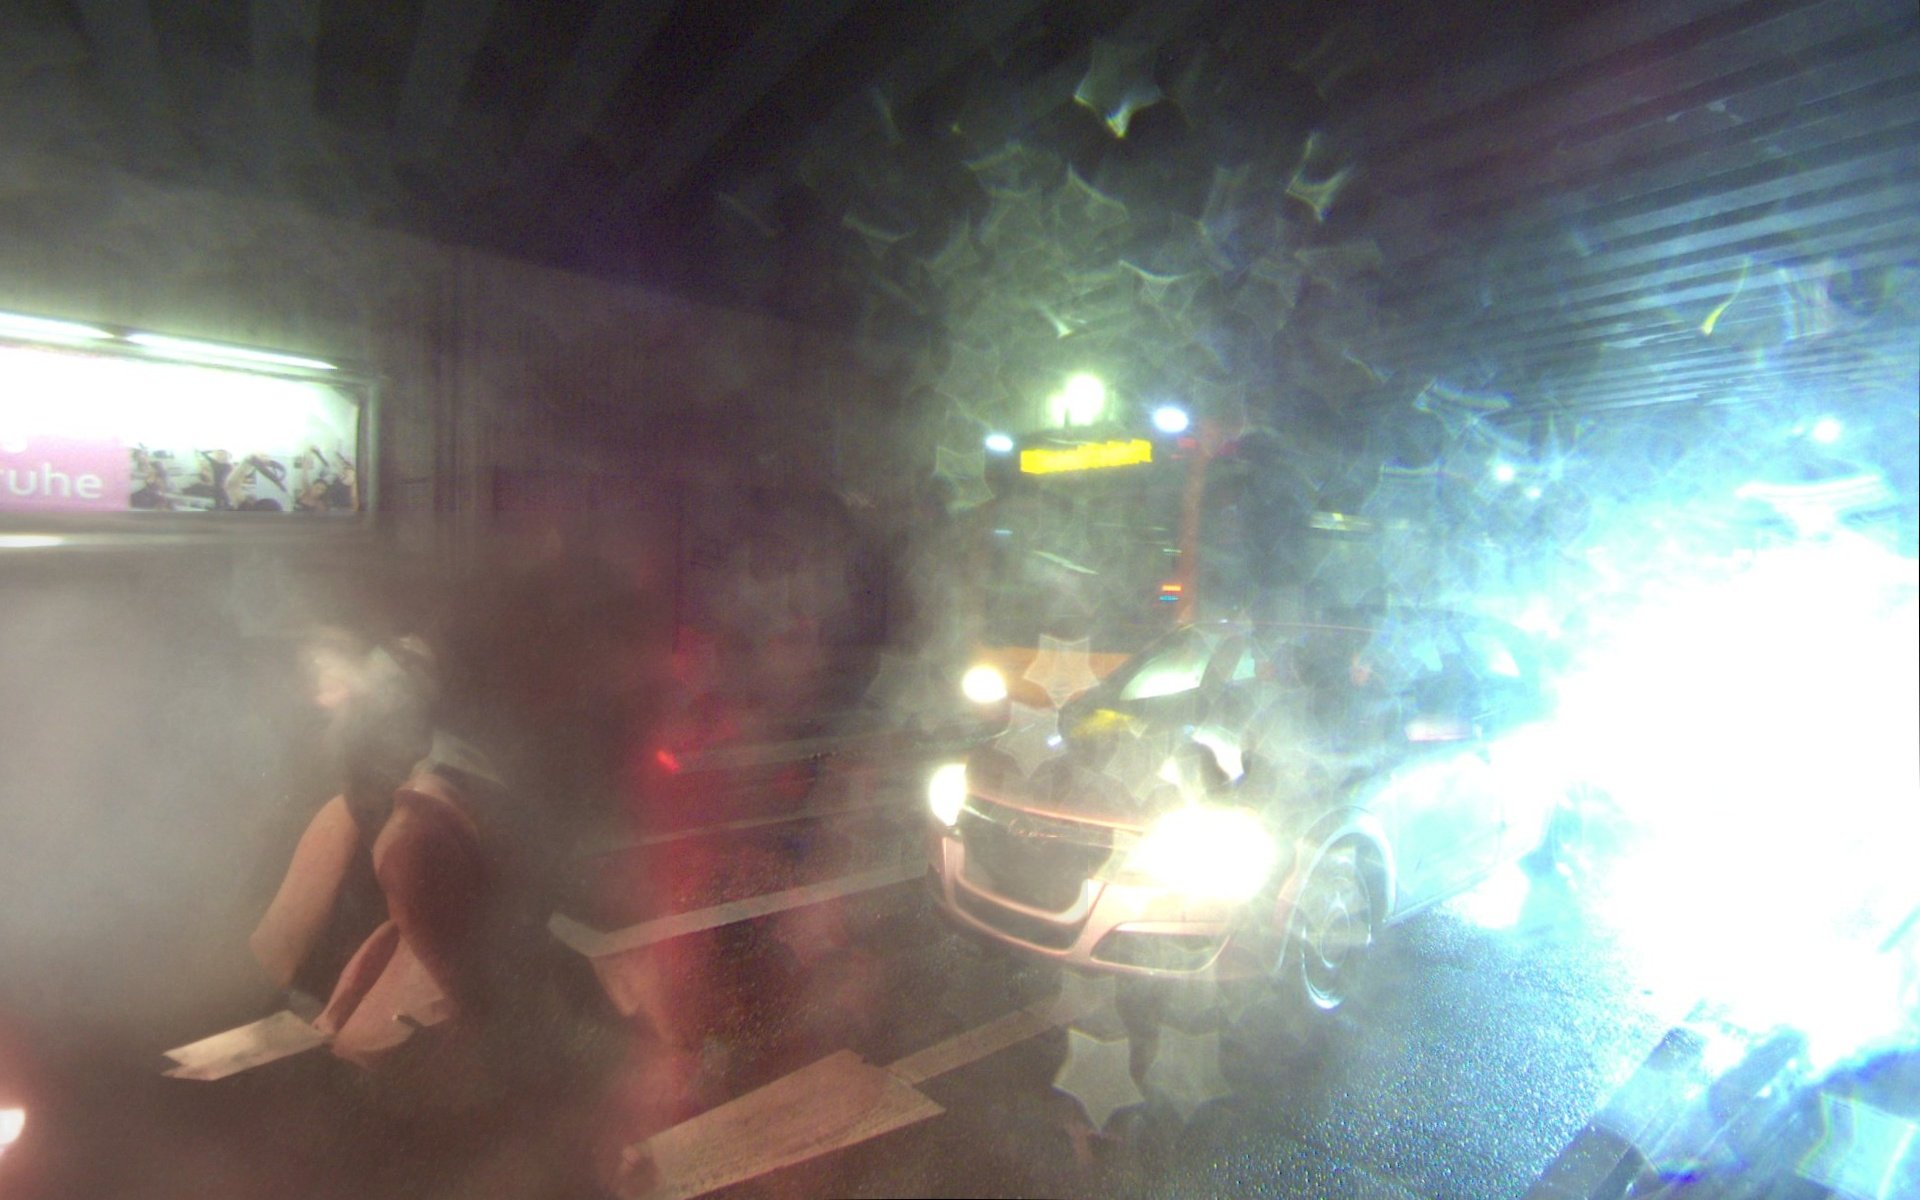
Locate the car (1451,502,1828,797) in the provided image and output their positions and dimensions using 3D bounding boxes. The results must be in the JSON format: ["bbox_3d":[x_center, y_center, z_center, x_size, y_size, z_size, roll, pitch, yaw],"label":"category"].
[{"bbox_3d":[6.481,0.329,9.453,4.274,2.115,1.996,-1,0,-43],"label":"car"}]

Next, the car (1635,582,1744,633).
[{"bbox_3d":[22.961,0.193,31.798,4.549,1.497,1.840,-1,0,-41],"label":"car"}]

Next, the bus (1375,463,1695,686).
[{"bbox_3d":[11.013,-0.360,18.709,2.770,3.163,9.604,0,0,45],"label":"bus"}]

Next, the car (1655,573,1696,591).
[{"bbox_3d":[67.918,-1.687,96.162,1.972,1.626,3.979,0,0,16],"label":"car"}]

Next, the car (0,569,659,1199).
[{"bbox_3d":[-2.678,0.686,0.974,4.273,1.422,1.719,-1,0,-41],"label":"car"}]

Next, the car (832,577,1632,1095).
[{"bbox_3d":[1.536,0.622,4.798,3.931,1.384,1.791,-2,2,-41],"label":"car"}]

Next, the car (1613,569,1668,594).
[{"bbox_3d":[42.162,-1.190,62.830,1.831,1.449,4.473,0,2,20],"label":"car"}]

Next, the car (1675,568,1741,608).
[{"bbox_3d":[30.558,-0.465,41.307,1.846,1.503,4.561,2,1,40],"label":"car"}]

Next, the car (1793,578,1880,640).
[{"bbox_3d":[24.564,0.214,28.324,1.737,1.610,3.939,0,0,42],"label":"car"}]

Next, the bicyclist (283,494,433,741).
[{"bbox_3d":[-4.703,0.121,7.902,0.885,1.784,0.798,0,0,-41],"label":"bicyclist"}]

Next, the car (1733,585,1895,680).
[{"bbox_3d":[15.343,0.496,18.125,3.930,1.522,1.628,-1,0,-41],"label":"car"}]

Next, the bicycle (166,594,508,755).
[{"bbox_3d":[-4.759,0.498,7.842,2.169,1.071,0.798,-1,0,-41],"label":"bicycle"}]

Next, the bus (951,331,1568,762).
[{"bbox_3d":[4.253,-0.396,11.848,2.770,3.163,9.604,0,0,45],"label":"bus"}]

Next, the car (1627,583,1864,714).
[{"bbox_3d":[10.746,0.549,13.775,3.701,1.531,1.867,-1,0,-41],"label":"car"}]

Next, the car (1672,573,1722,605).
[{"bbox_3d":[35.252,-0.524,48.355,1.844,1.474,4.441,1,1,37],"label":"car"}]

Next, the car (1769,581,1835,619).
[{"bbox_3d":[34.478,-0.022,41.522,1.872,1.490,3.946,0,0,37],"label":"car"}]

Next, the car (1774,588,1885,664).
[{"bbox_3d":[18.915,0.493,21.959,1.678,1.490,3.938,0,0,43],"label":"car"}]
